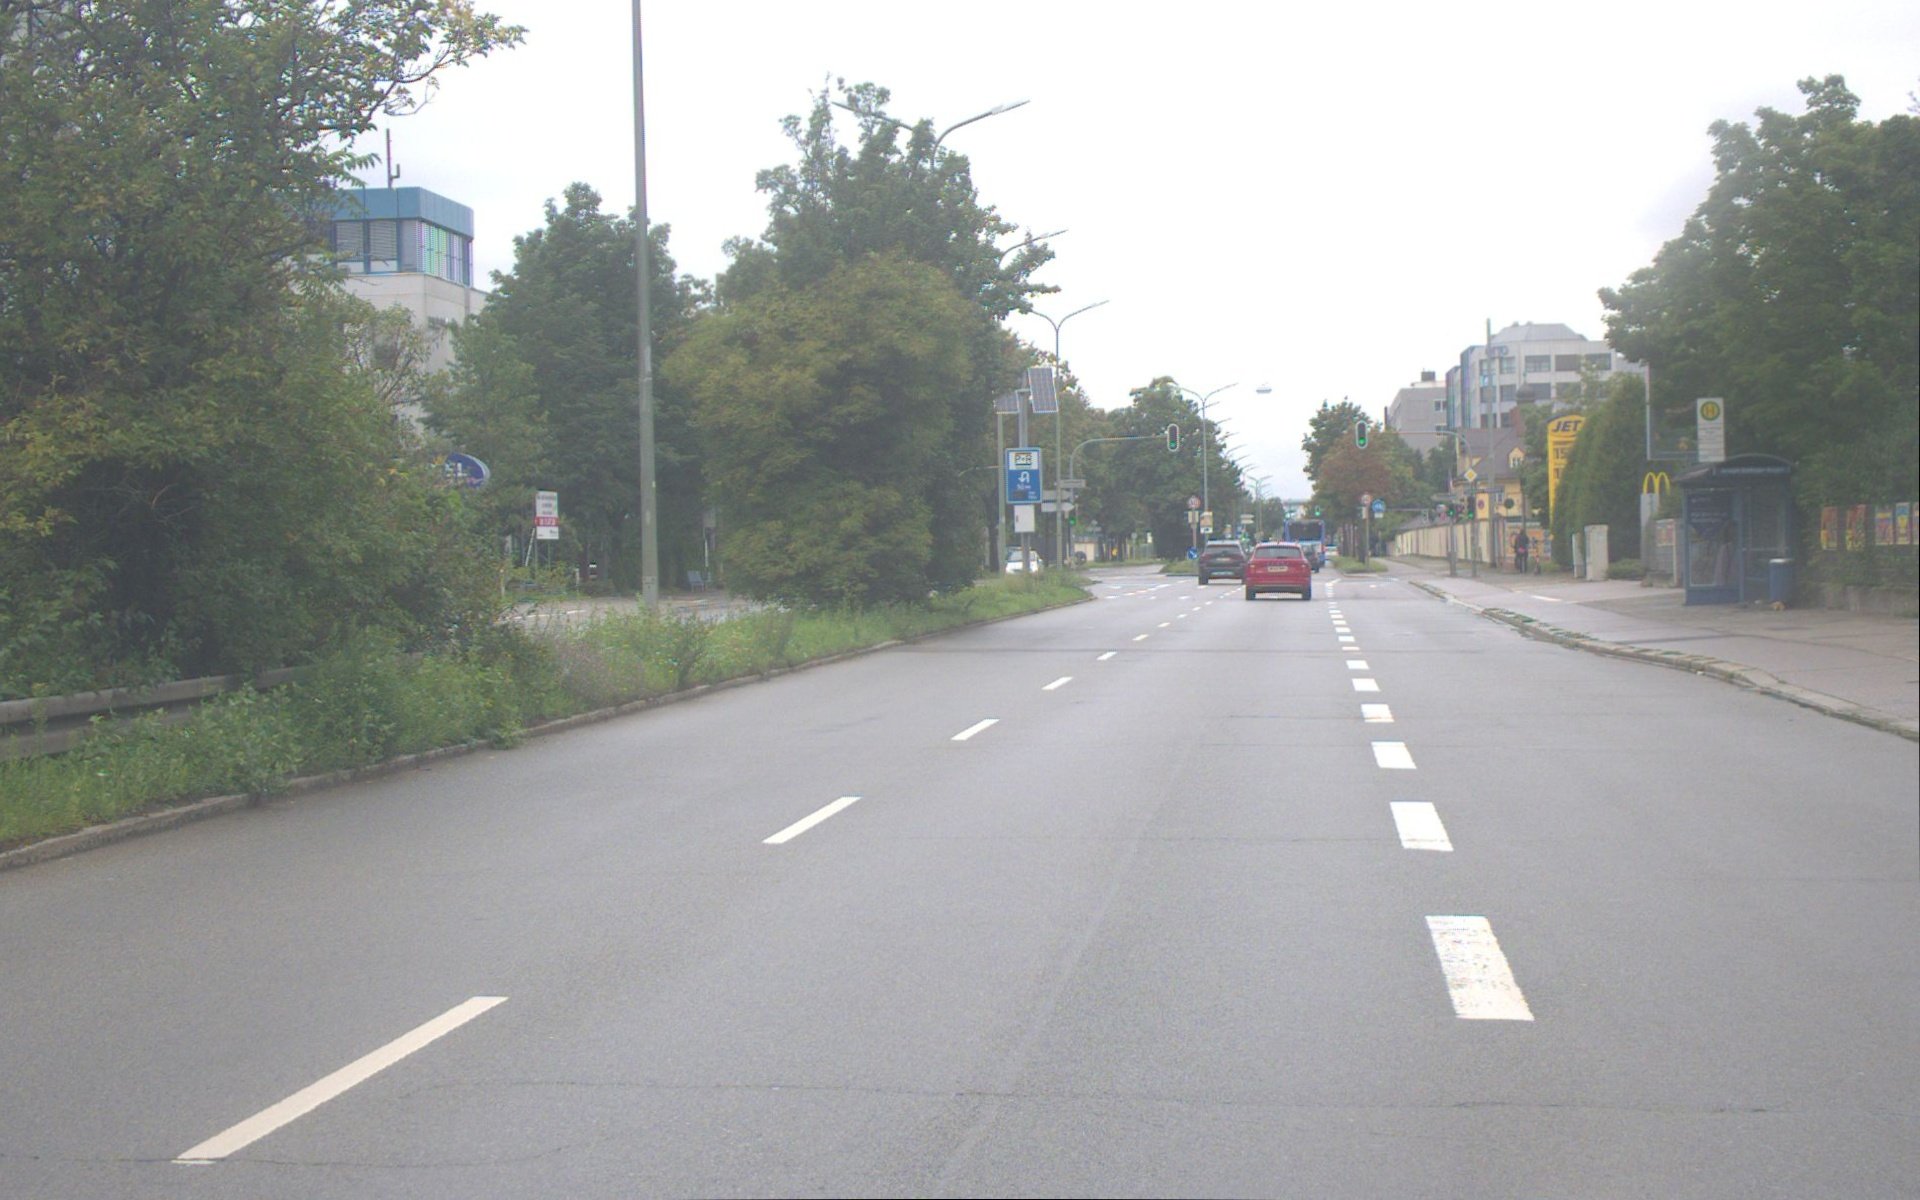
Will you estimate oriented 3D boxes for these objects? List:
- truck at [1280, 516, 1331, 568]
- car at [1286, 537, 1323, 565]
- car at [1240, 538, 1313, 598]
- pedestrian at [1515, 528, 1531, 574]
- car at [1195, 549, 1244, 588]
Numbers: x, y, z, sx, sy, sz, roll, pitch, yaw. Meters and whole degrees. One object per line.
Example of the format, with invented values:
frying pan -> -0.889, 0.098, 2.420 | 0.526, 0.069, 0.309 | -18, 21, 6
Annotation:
truck -> 22.500, -3.770, 224.213 | 2.969, 3.274, 7.914 | -1, 1, 4
car -> 18.133, -2.555, 180.884 | 1.803, 1.428, 4.000 | -1, 1, 4
car -> 8.783, -0.878, 95.624 | 1.862, 1.612, 4.000 | -1, 0, 3
pedestrian -> 20.188, -1.753, 123.318 | 0.483, 1.630, 0.590 | -1, 1, 4
car -> 9.850, -1.214, 130.526 | 1.803, 1.428, 4.000 | -1, 1, 4
